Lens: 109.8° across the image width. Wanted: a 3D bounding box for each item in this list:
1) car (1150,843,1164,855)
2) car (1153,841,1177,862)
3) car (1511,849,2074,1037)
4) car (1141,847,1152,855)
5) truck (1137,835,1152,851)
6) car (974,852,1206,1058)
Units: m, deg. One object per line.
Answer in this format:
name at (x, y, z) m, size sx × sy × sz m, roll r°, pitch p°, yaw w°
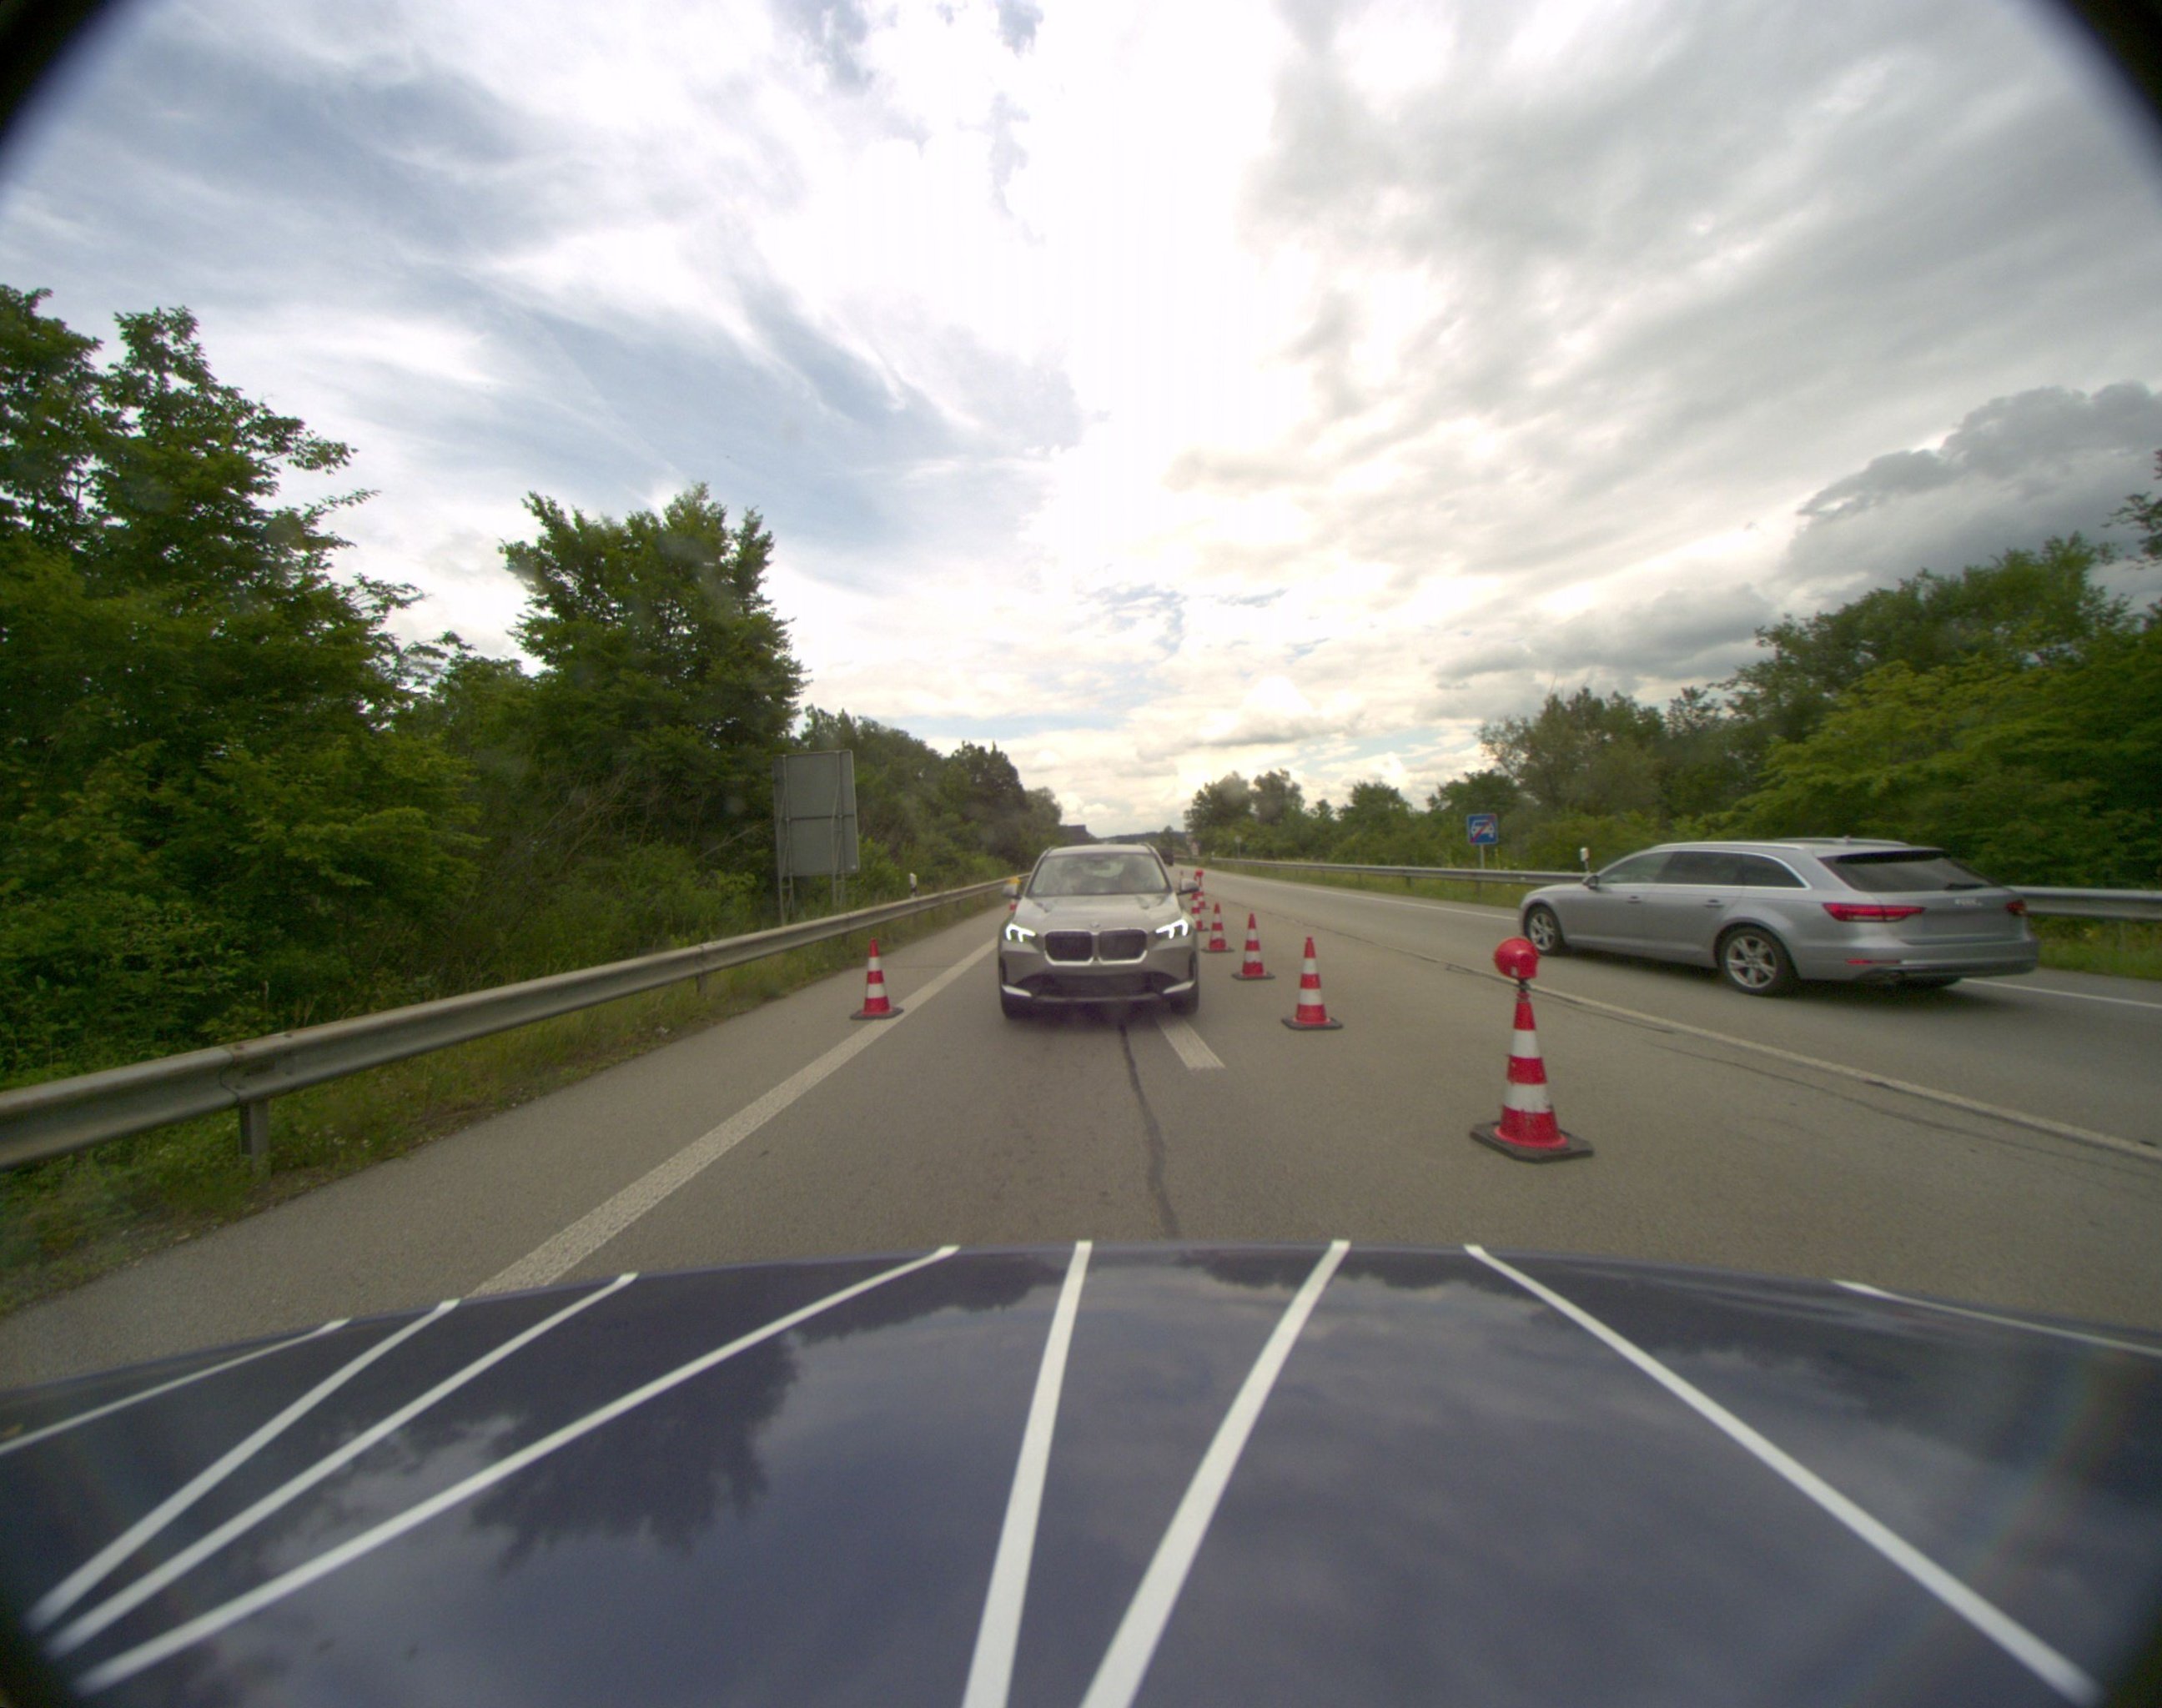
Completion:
car at (12.162, -0.750, 121.472) m, size 1.929 × 1.820 × 4.533 m, roll -2°, pitch 0°, yaw 3°
car at (8.642, -0.278, 78.686) m, size 2.034 × 1.976 × 5.316 m, roll -2°, pitch 0°, yaw 3°
car at (6.817, 0.679, 8.106) m, size 1.684 × 1.394 × 4.372 m, roll -2°, pitch 0°, yaw -5°
car at (12.985, -0.619, 150.800) m, size 1.929 × 1.597 × 4.533 m, roll -2°, pitch 0°, yaw 3°
truck at (14.870, -2.606, 179.387) m, size 3.113 × 3.682 × 9.544 m, roll -2°, pitch 0°, yaw 2°
car at (0.188, 0.816, 8.328) m, size 1.817 × 1.598 × 4.434 m, roll -2°, pitch 0°, yaw 3°
